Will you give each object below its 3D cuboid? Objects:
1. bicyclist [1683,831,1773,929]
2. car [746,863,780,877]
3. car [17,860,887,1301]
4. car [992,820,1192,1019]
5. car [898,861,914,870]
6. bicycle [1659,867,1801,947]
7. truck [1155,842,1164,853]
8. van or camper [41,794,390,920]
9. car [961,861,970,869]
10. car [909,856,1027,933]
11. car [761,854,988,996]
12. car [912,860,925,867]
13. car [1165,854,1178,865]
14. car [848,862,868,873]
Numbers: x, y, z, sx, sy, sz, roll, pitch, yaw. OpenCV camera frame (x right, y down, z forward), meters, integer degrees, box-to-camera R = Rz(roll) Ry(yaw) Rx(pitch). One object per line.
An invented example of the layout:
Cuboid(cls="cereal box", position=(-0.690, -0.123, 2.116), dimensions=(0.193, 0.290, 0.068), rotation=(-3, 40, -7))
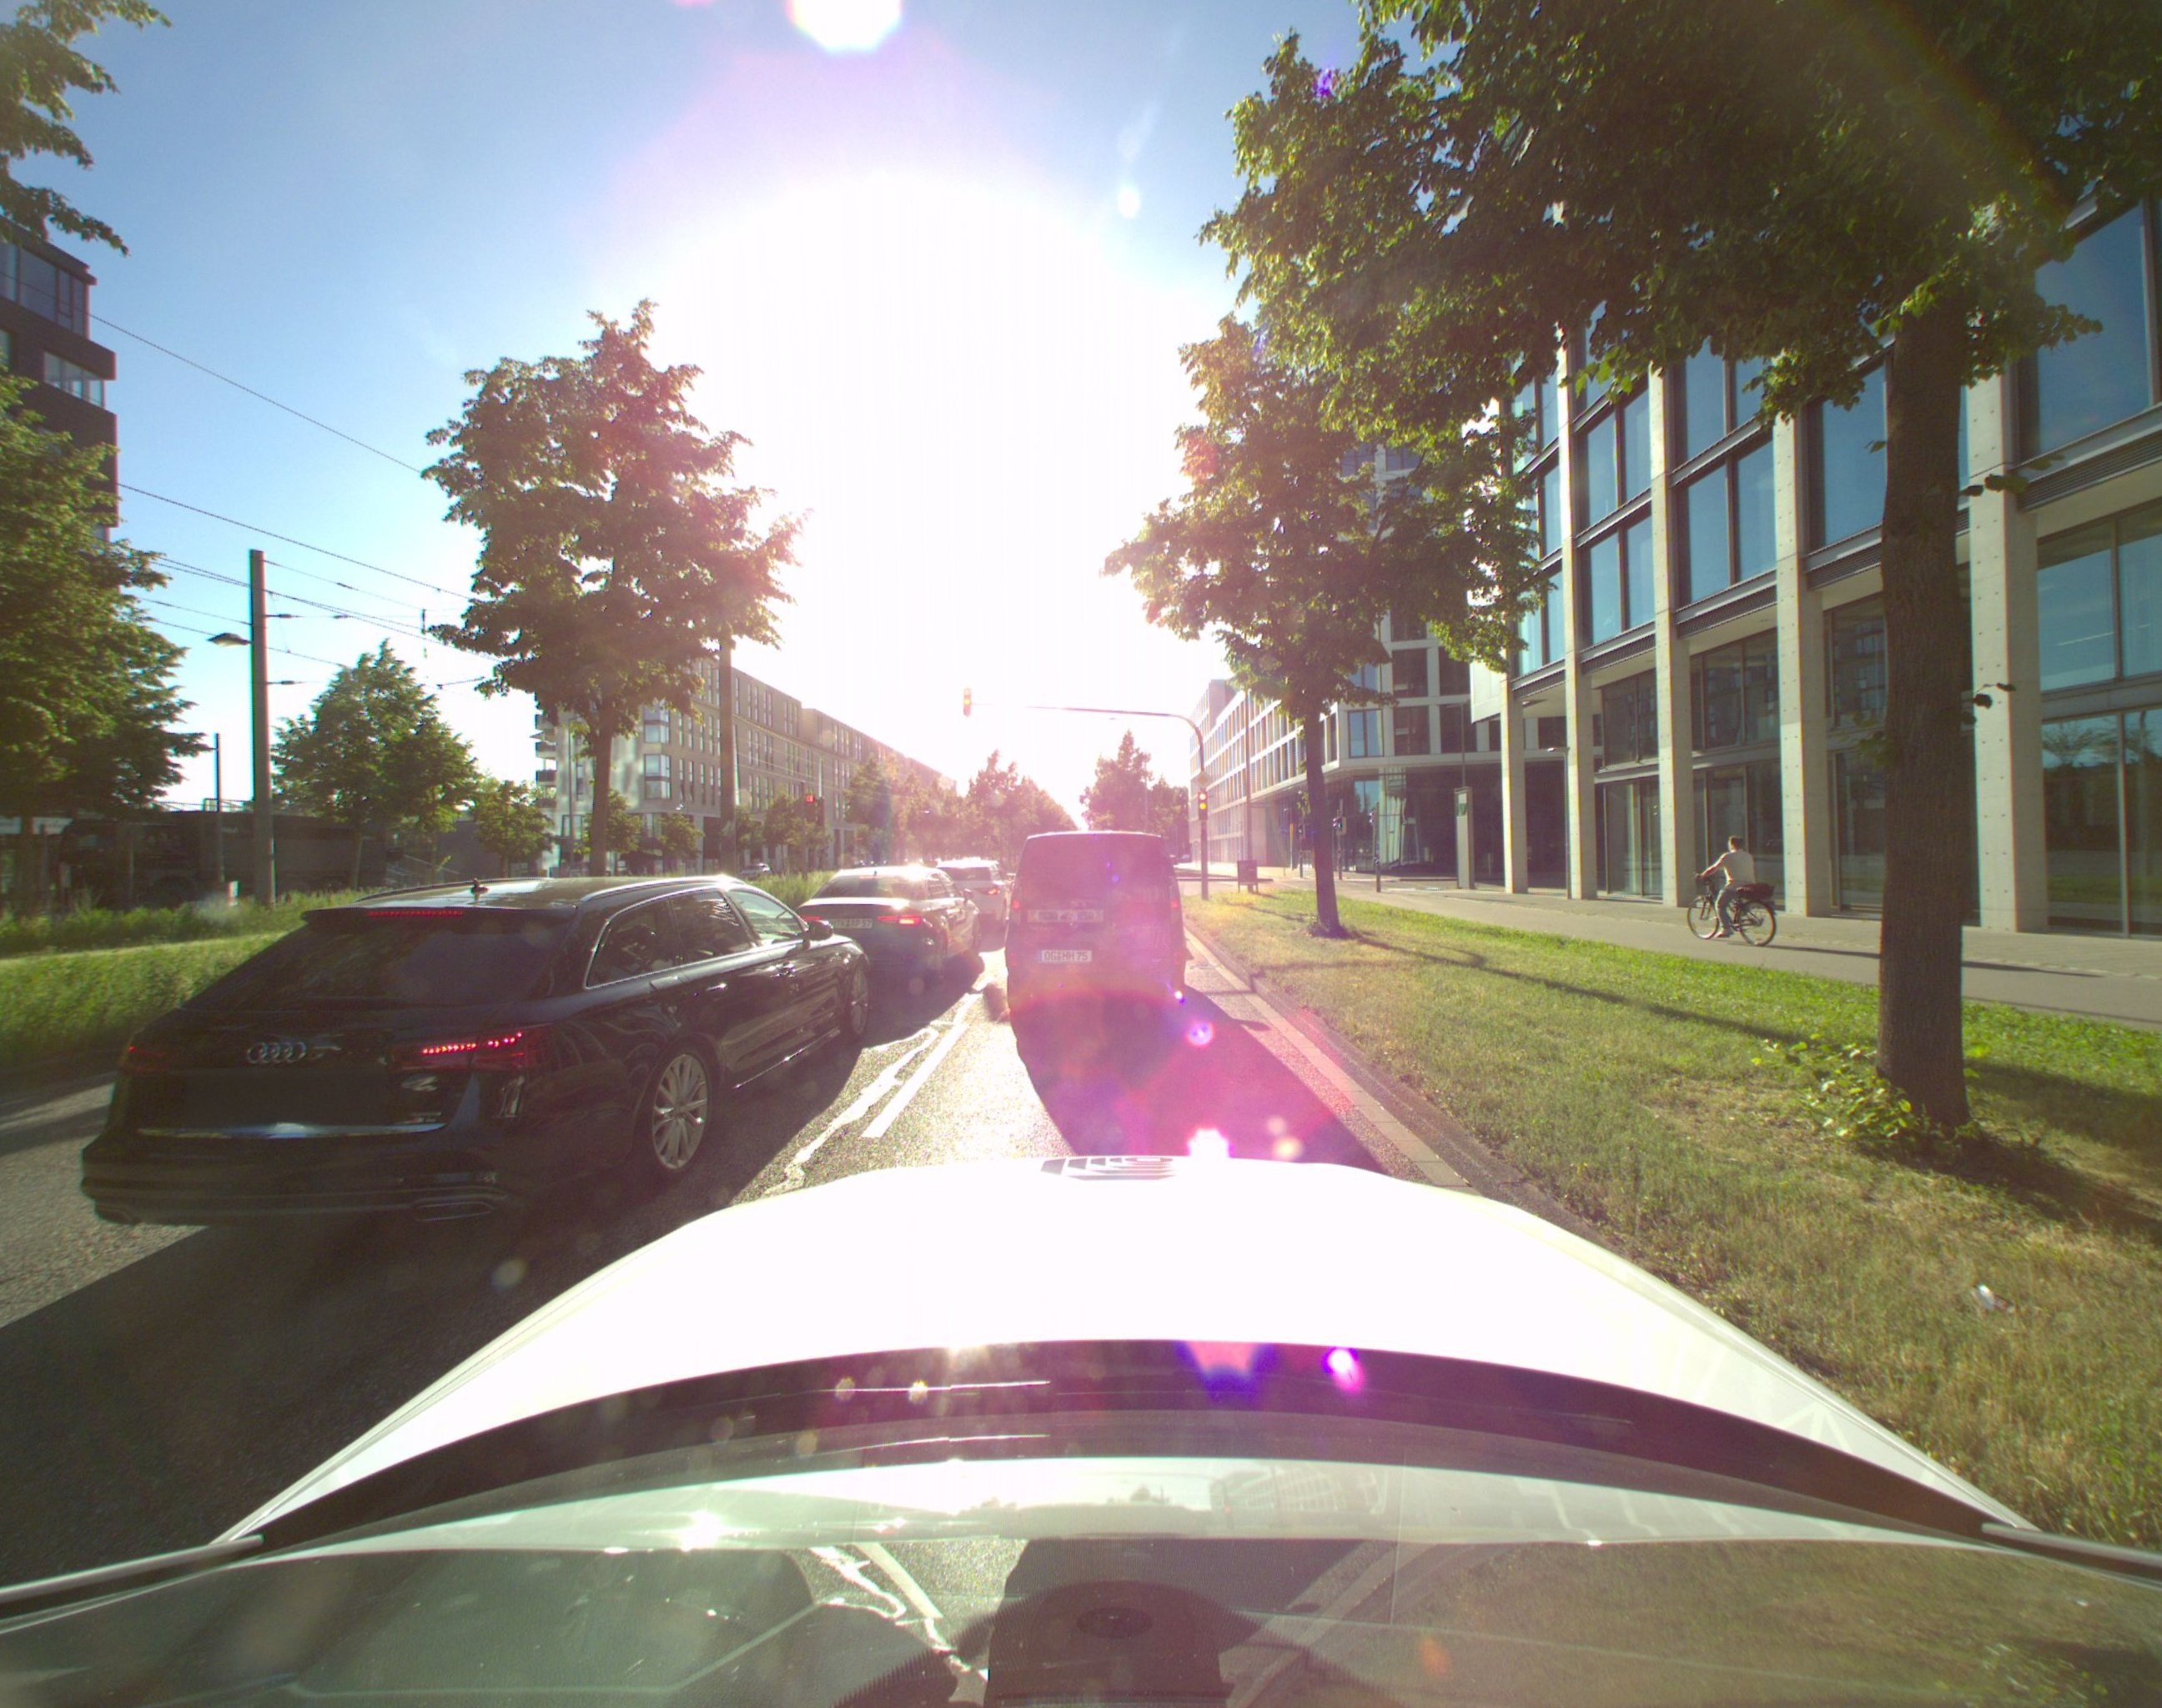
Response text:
Cuboid(cls="bicyclist", position=(10.565, 0.419, 13.332), dimensions=(0.768, 1.531, 0.850), rotation=(-2, 0, 1))
Cuboid(cls="car", position=(-31.522, 1.562, 80.863), dimensions=(1.574, 1.342, 4.473), rotation=(-1, 0, 1))
Cuboid(cls="car", position=(-2.725, 0.804, 5.078), dimensions=(1.801, 1.457, 4.509), rotation=(-1, 0, 2))
Cuboid(cls="car", position=(0.195, 0.605, 9.541), dimensions=(1.801, 1.794, 4.115), rotation=(-1, 0, 2))
Cuboid(cls="car", position=(-29.534, 1.916, 137.466), dimensions=(1.769, 1.528, 3.807), rotation=(-1, 0, 1))
Cuboid(cls="bicycle", position=(10.562, 0.823, 13.360), dimensions=(0.739, 1.174, 1.962), rotation=(-3, -1, 2))
Cuboid(cls="truck", position=(19.083, -1.654, 198.575), dimensions=(1.825, 2.501, 5.934), rotation=(-1, -1, 1))
Cuboid(cls="van or camper", position=(-33.568, 0.132, 32.592), dimensions=(2.743, 4.192, 10.234), rotation=(-1, 0, 2))
Cuboid(cls="car", position=(-28.377, 2.735, 200.121), dimensions=(1.723, 2.013, 3.999), rotation=(-1, 0, -1))
Cuboid(cls="car", position=(-2.307, 0.778, 17.684), dimensions=(1.801, 1.434, 4.115), rotation=(-1, 0, 2))
Cuboid(cls="car", position=(-2.501, 0.778, 10.977), dimensions=(1.801, 1.527, 4.115), rotation=(-1, 0, 3))
Cuboid(cls="car", position=(-30.024, 1.739, 150.241), dimensions=(1.574, 1.342, 3.713), rotation=(-1, 0, 1))
Cuboid(cls="car", position=(14.214, 0.816, 127.731), dimensions=(1.750, 1.611, 3.906), rotation=(-1, 0, 3))
Cuboid(cls="car", position=(-30.669, 1.848, 112.070), dimensions=(1.574, 1.342, 3.713), rotation=(-1, 0, 1))
